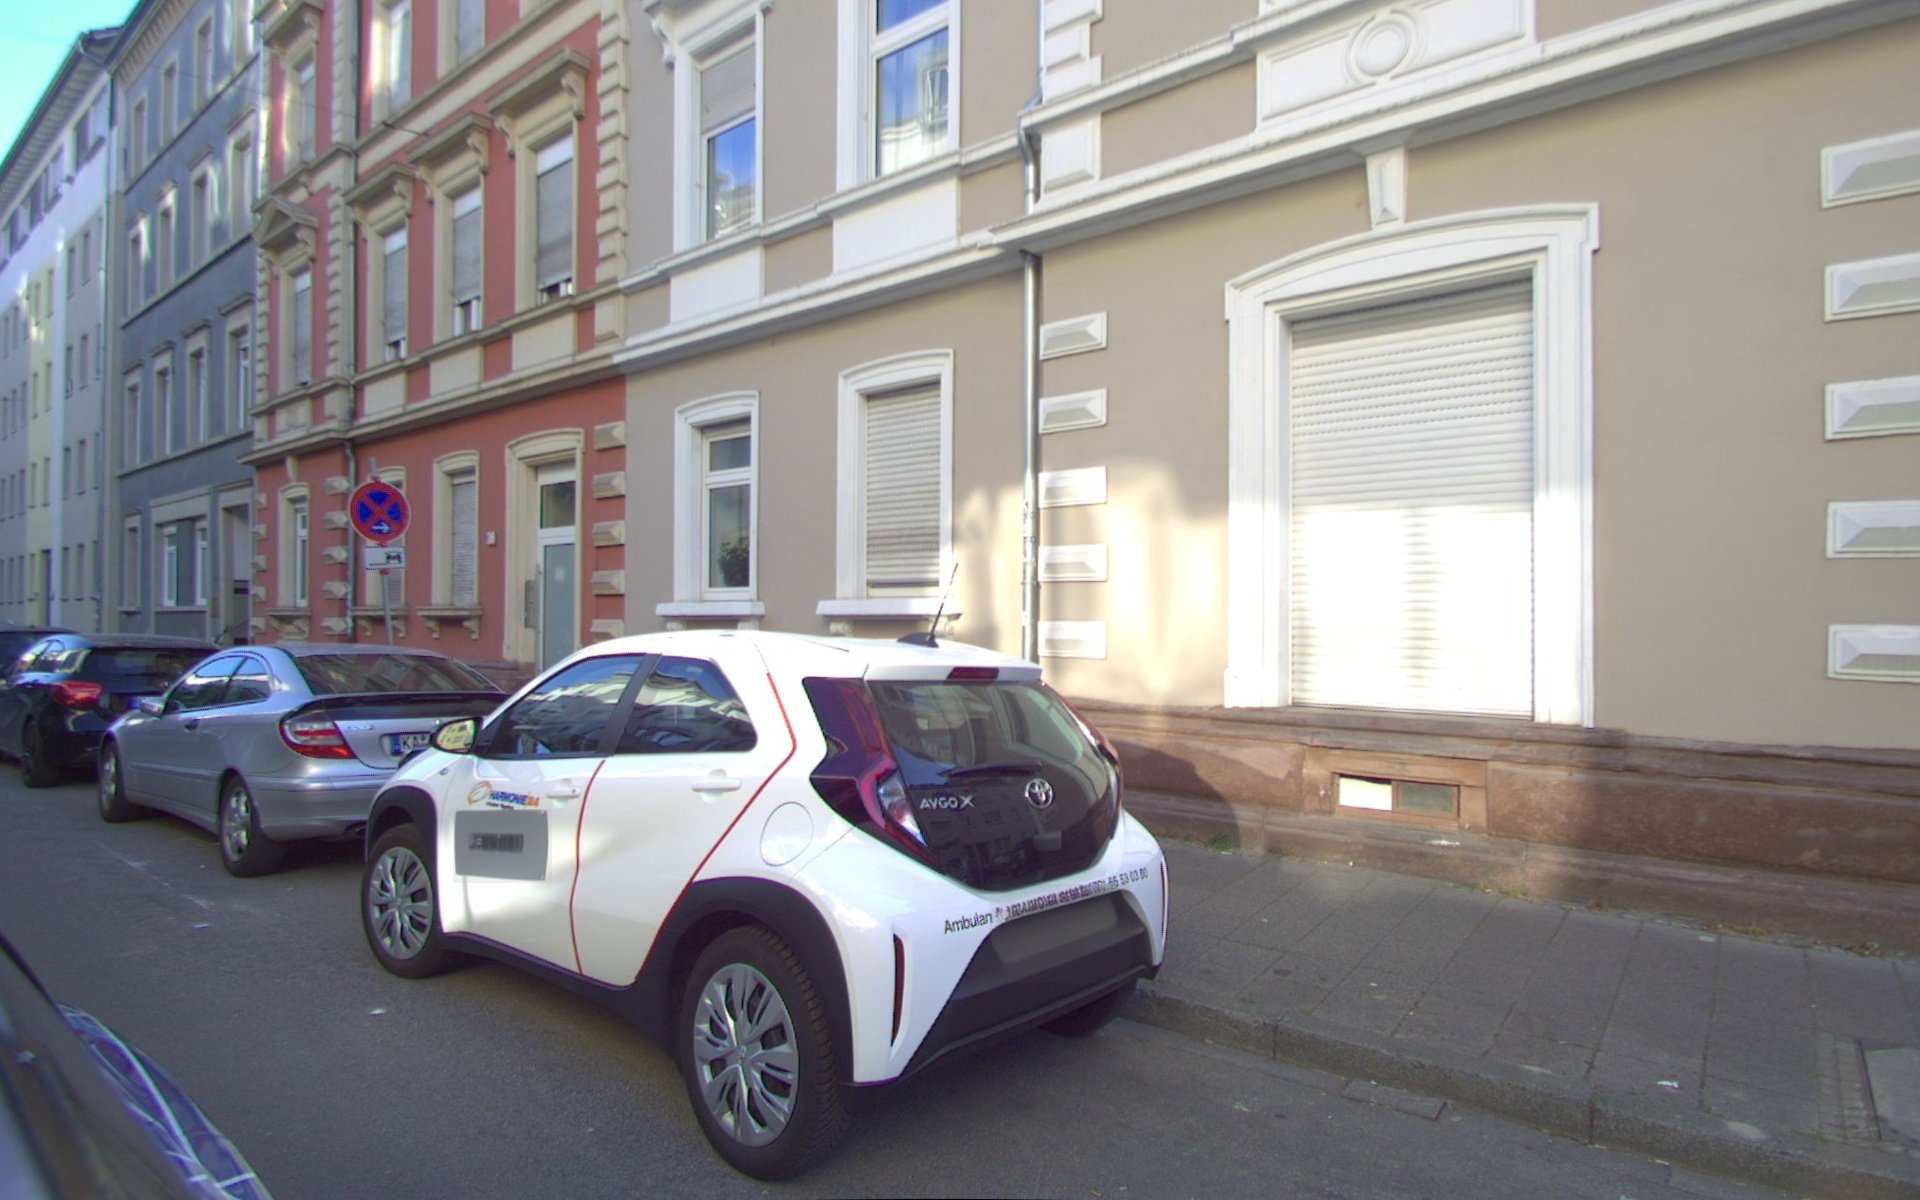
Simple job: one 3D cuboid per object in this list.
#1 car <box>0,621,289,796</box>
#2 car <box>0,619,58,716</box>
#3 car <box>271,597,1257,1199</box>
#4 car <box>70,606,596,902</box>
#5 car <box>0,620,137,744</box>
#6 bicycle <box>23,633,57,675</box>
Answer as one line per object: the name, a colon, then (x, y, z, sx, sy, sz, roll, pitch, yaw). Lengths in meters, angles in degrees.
car: (-9.062, 1.028, 10.769, 4.260, 1.495, 1.902, -2, -4, 38)
car: (-17.448, 1.124, 17.548, 4.260, 1.572, 1.902, -2, -4, 38)
car: (-1.138, 0.852, 4.365, 4.263, 1.519, 1.901, -2, -4, 40)
car: (-4.775, 0.917, 7.495, 4.260, 1.572, 1.902, -2, -4, 38)
car: (-13.675, 1.114, 14.557, 4.234, 1.572, 1.883, -2, -4, 38)
bicycle: (-25.266, 1.473, 27.781, 1.750, 1.082, 0.446, -1, -1, 39)
